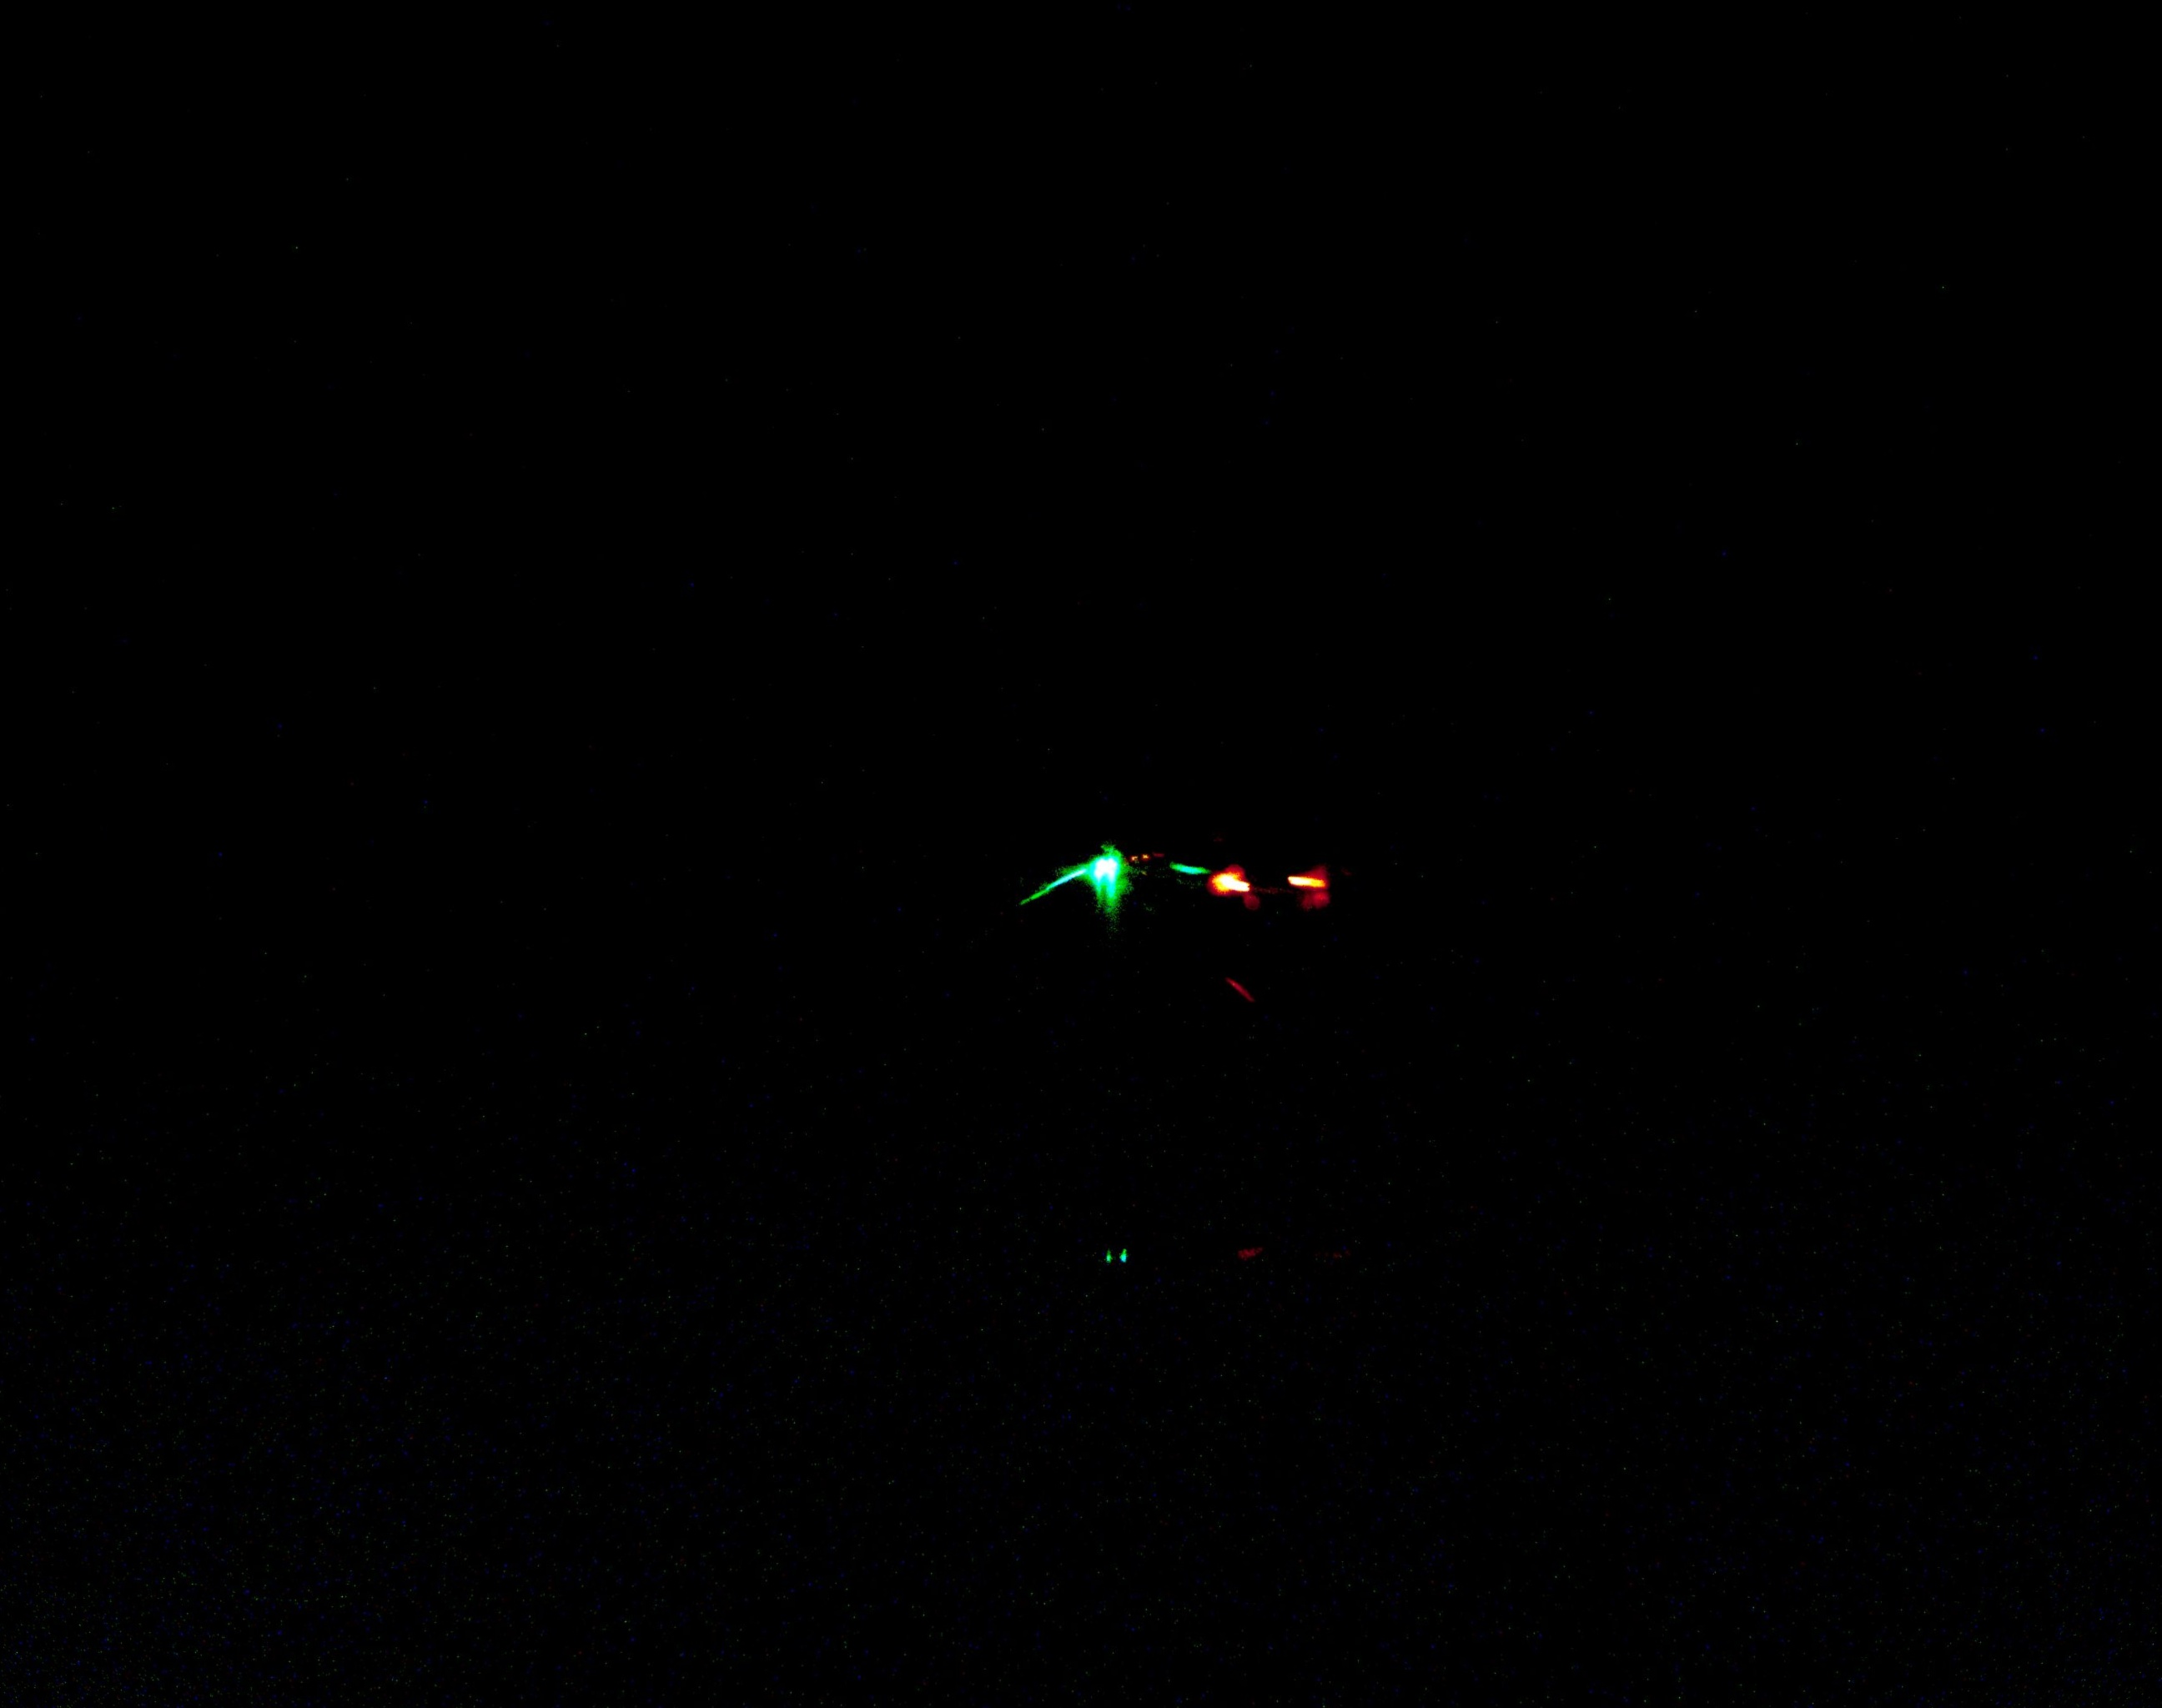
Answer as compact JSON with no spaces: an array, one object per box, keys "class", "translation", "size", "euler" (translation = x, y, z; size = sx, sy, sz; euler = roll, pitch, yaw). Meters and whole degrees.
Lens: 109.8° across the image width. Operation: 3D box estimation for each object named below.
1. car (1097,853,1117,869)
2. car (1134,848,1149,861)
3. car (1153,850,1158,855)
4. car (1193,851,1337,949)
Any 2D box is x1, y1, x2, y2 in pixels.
[{"class":"car","translation":[2.906,0.795,84.102],"size":[1.998,1.724,4.001],"euler":[0,0,4]},{"class":"car","translation":[8.852,0.032,110.835],"size":[1.998,1.812,4.000],"euler":[-2,1,3]},{"class":"car","translation":[24.706,-0.497,252.340],"size":[1.821,1.546,3.872],"euler":[0,1,5]},{"class":"car","translation":[3.341,0.755,14.513],"size":[1.834,1.559,3.779],"euler":[-2,1,1]}]
